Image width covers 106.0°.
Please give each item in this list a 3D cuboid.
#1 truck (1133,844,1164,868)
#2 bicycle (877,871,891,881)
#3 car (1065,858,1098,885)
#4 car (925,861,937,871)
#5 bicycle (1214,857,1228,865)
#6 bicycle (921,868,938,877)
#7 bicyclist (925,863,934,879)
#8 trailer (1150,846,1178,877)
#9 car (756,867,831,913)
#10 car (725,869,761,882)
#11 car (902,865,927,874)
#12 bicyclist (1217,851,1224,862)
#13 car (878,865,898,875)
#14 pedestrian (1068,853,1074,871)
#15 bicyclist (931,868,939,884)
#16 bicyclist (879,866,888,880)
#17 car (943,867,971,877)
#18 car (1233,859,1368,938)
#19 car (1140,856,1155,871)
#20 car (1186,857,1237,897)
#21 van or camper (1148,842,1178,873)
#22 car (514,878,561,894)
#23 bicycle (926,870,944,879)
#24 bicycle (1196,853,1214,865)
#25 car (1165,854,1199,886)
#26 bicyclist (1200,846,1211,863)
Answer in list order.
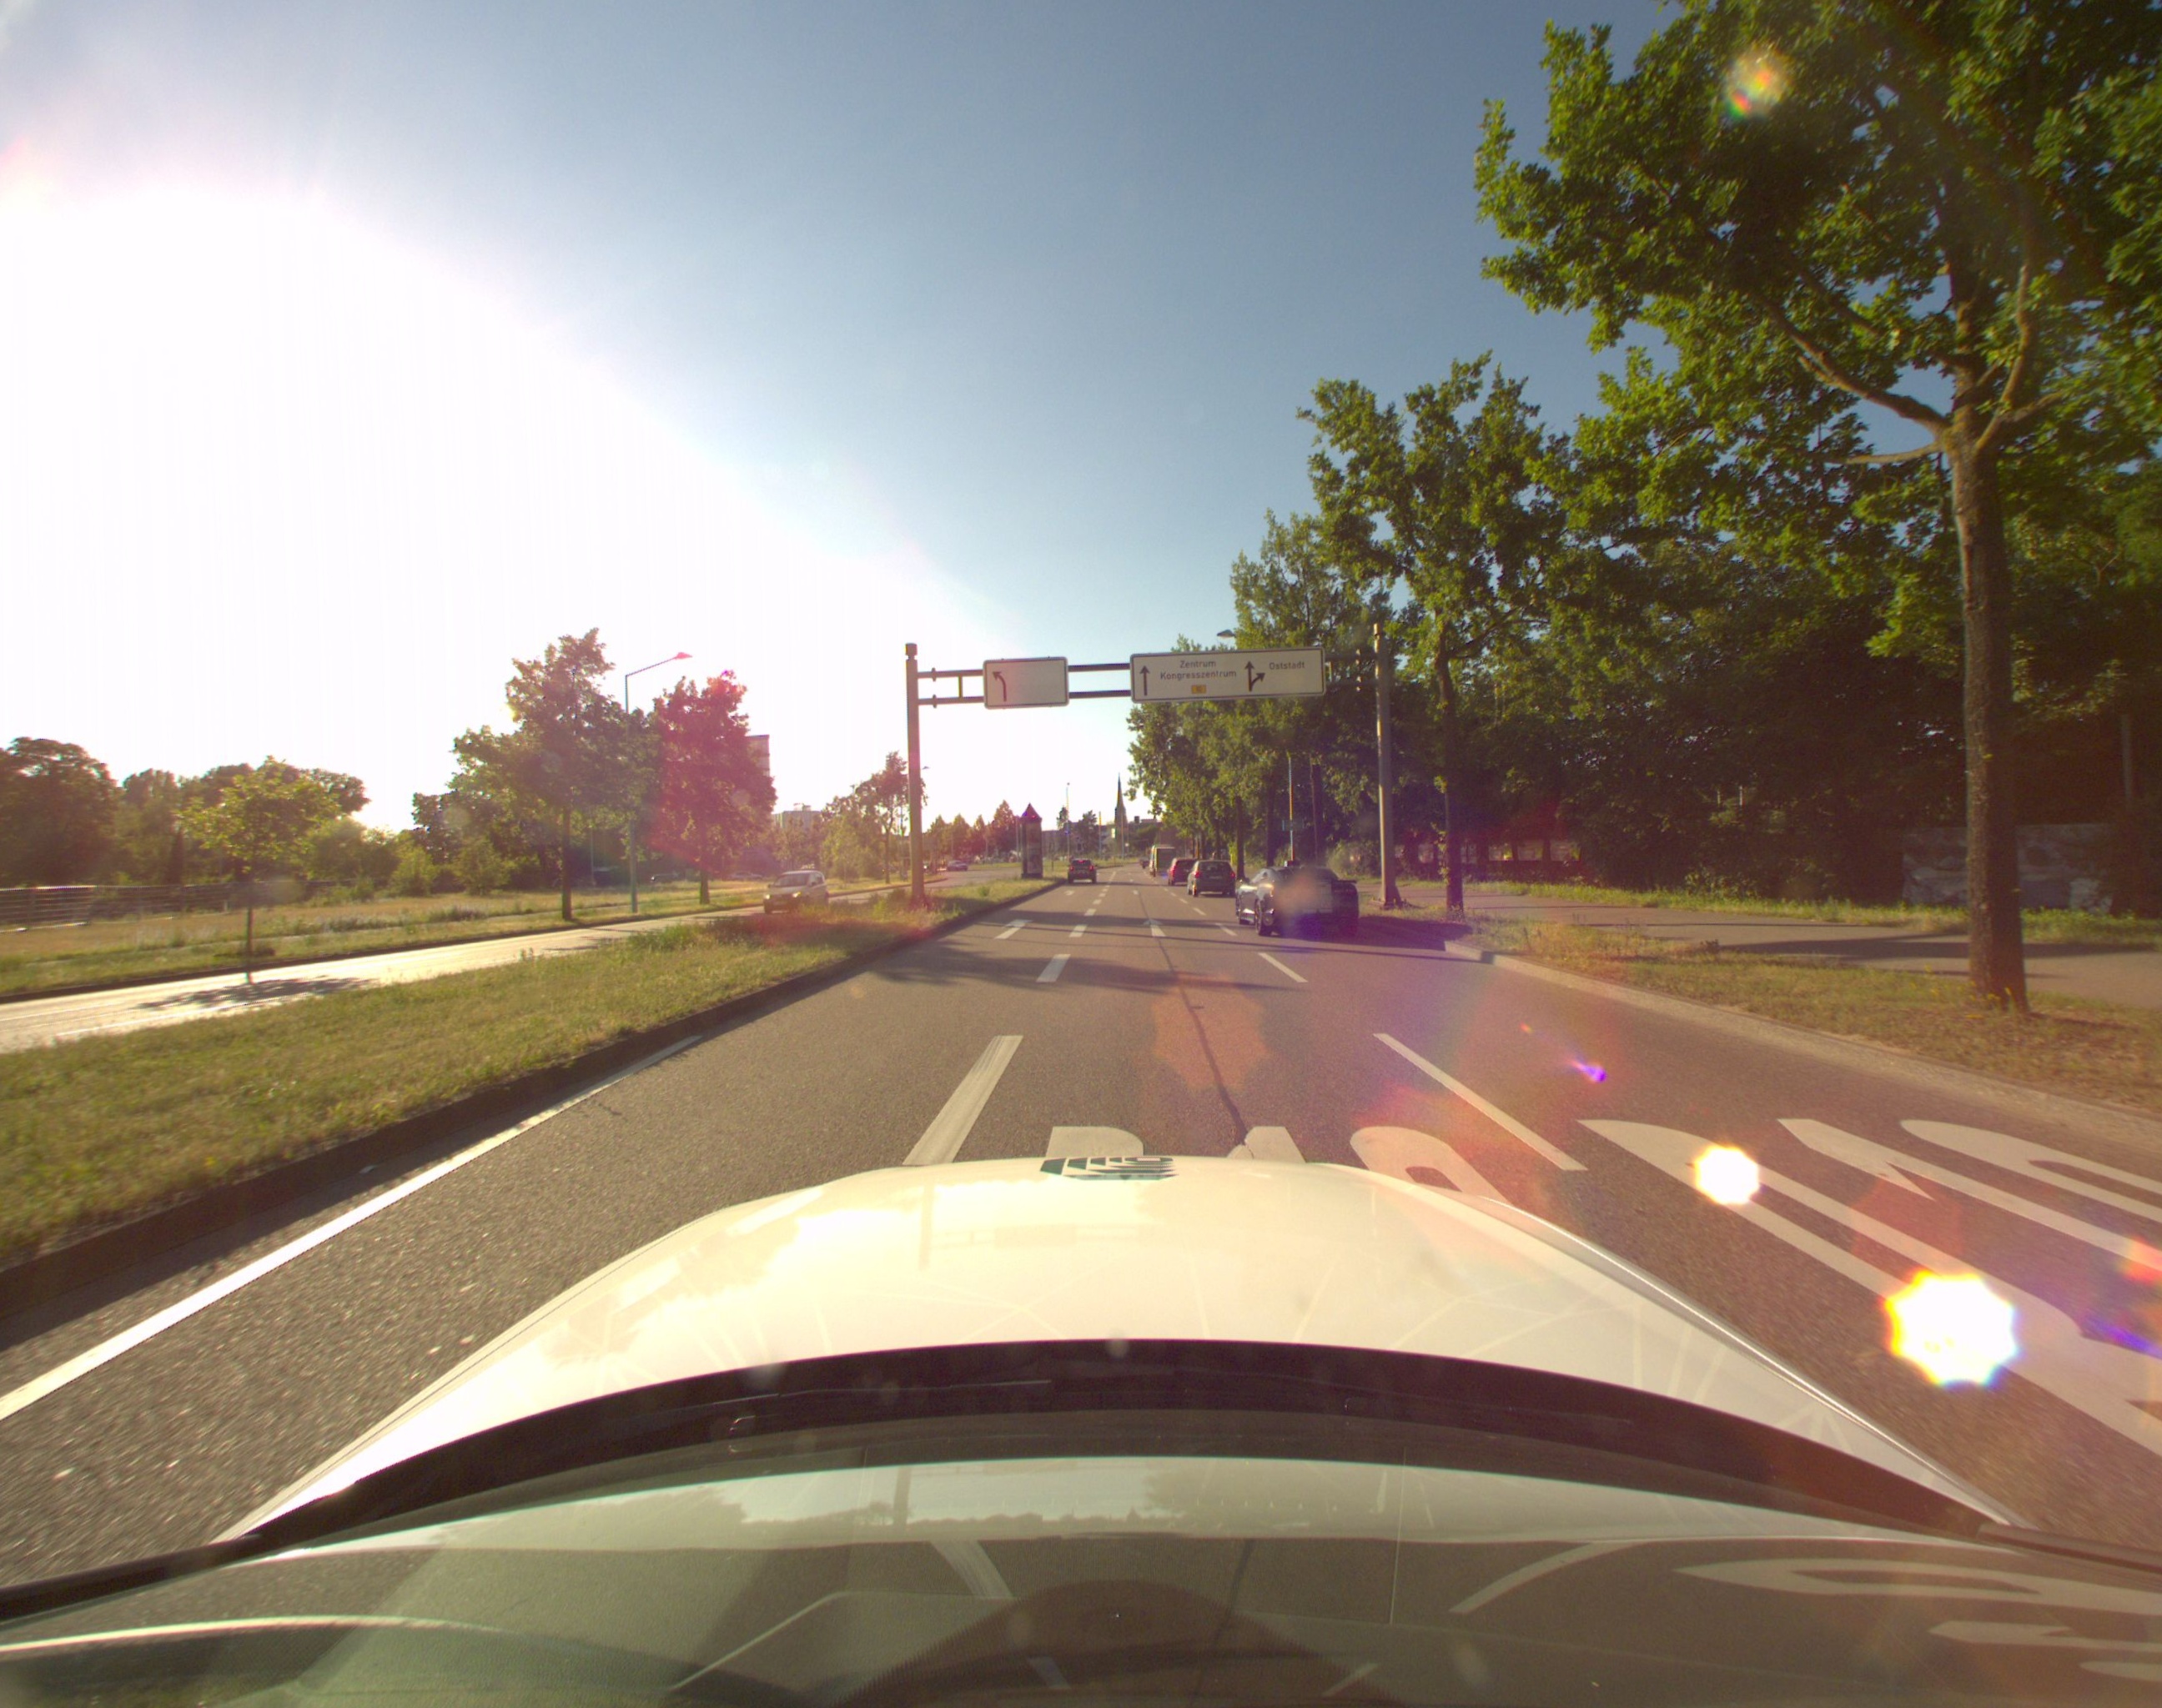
[{"bbox_3d":[7.874,0.222,94.832,2.562,2.558,6.275,-2,0,14],"label":"truck"},{"bbox_3d":[-22.793,2.546,94.272,0.730,1.118,1.801,-2,-1,-42],"label":"bicycle"},{"bbox_3d":[0.085,1.105,53.517,1.897,1.660,4.004,-2,0,3],"label":"car"},{"bbox_3d":[-24.309,1.923,131.804,1.904,1.444,4.123,-2,0,-11],"label":"car"},{"bbox_3d":[16.006,0.841,93.012,1.461,0.786,0.438,-5,1,-13],"label":"bicycle"},{"bbox_3d":[-17.045,2.060,91.453,1.893,1.019,0.507,-1,0,18],"label":"bicycle"},{"bbox_3d":[-17.038,1.949,91.485,0.806,1.770,0.498,-1,0,18],"label":"bicyclist"},{"bbox_3d":[6.741,0.582,66.573,2.081,2.400,3.504,-1,0,3],"label":"trailer"},{"bbox_3d":[-10.813,1.320,30.883,1.557,1.575,3.412,-2,0,0],"label":"car"},{"bbox_3d":[-42.187,2.675,101.728,3.728,1.508,1.853,-2,0,-40],"label":"car"},{"bbox_3d":[-29.949,2.733,146.458,4.097,1.376,1.683,-3,0,26],"label":"car"},{"bbox_3d":[15.954,0.299,93.021,0.650,1.294,0.464,-3,1,-15],"label":"bicyclist"},{"bbox_3d":[-32.188,2.622,135.828,1.655,1.441,3.630,-3,0,14],"label":"car"},{"bbox_3d":[-1.050,0.871,88.639,0.483,1.844,0.721,-3,-1,7],"label":"pedestrian"},{"bbox_3d":[-16.633,2.463,92.755,0.808,1.789,0.498,-1,0,11],"label":"bicyclist"},{"bbox_3d":[-22.876,2.196,94.306,0.714,1.666,0.821,-2,0,-43],"label":"bicyclist"},{"bbox_3d":[-18.185,2.647,119.522,3.711,1.434,1.847,-2,0,31],"label":"car"},{"bbox_3d":[4.370,0.819,16.948,1.846,1.338,4.630,-1,0,4],"label":"car"},{"bbox_3d":[7.635,1.025,93.561,1.595,1.610,4.004,-2,0,3],"label":"car"},{"bbox_3d":[5.313,0.892,33.556,1.739,1.473,3.824,-2,0,4],"label":"car"},{"bbox_3d":[7.270,0.304,72.695,2.275,2.629,6.587,-1,0,3],"label":"van or camper"},{"bbox_3d":[-58.636,3.480,87.898,4.014,1.508,1.853,-2,0,-40],"label":"car"},{"bbox_3d":[-16.606,2.325,92.744,1.896,1.019,0.506,-1,0,10],"label":"bicycle"},{"bbox_3d":[14.036,0.520,91.927,1.885,1.244,0.613,-4,-1,39],"label":"bicycle"},{"bbox_3d":[5.873,0.903,47.549,1.739,1.620,3.825,0,3,4],"label":"car"},{"bbox_3d":[14.050,0.023,91.900,0.927,1.899,0.605,-4,-1,39],"label":"bicyclist"}]
